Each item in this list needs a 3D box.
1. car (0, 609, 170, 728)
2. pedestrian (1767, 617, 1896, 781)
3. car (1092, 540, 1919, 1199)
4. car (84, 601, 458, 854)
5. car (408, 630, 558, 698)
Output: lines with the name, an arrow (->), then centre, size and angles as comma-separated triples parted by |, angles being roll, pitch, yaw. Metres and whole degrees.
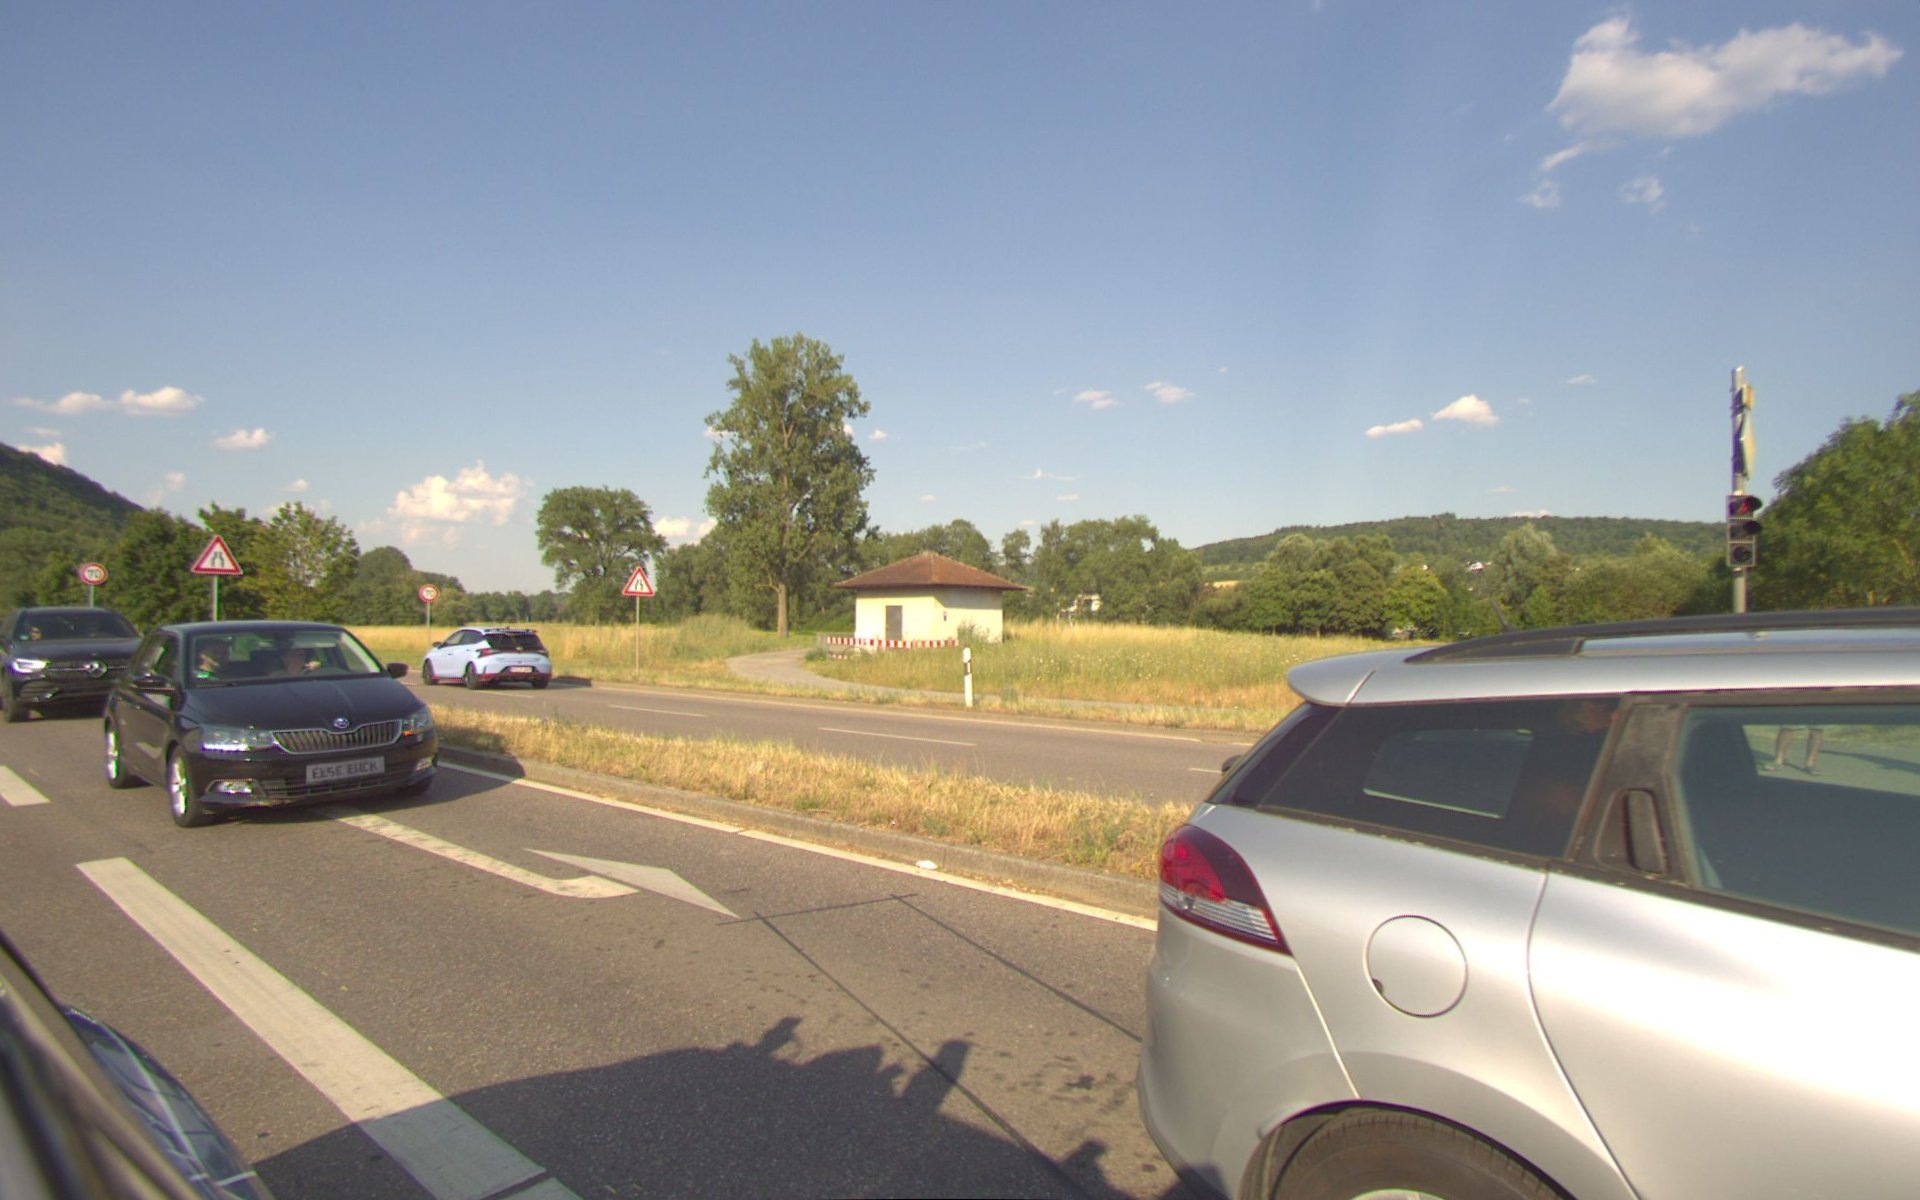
car -> -13.960, 0.964, 15.799 | 4.143, 1.586, 1.834 | -1, 0, 41
pedestrian -> 9.164, 1.002, 10.660 | 0.646, 1.618, 0.839 | -1, 0, -29
car -> 2.401, 0.658, 1.211 | 4.187, 1.488, 1.739 | -2, -2, 41
car -> -5.807, 0.829, 8.333 | 3.998, 1.586, 1.596 | -1, 0, 41
car -> -11.455, 1.479, 24.194 | 4.143, 1.445, 1.690 | -1, -3, 41
